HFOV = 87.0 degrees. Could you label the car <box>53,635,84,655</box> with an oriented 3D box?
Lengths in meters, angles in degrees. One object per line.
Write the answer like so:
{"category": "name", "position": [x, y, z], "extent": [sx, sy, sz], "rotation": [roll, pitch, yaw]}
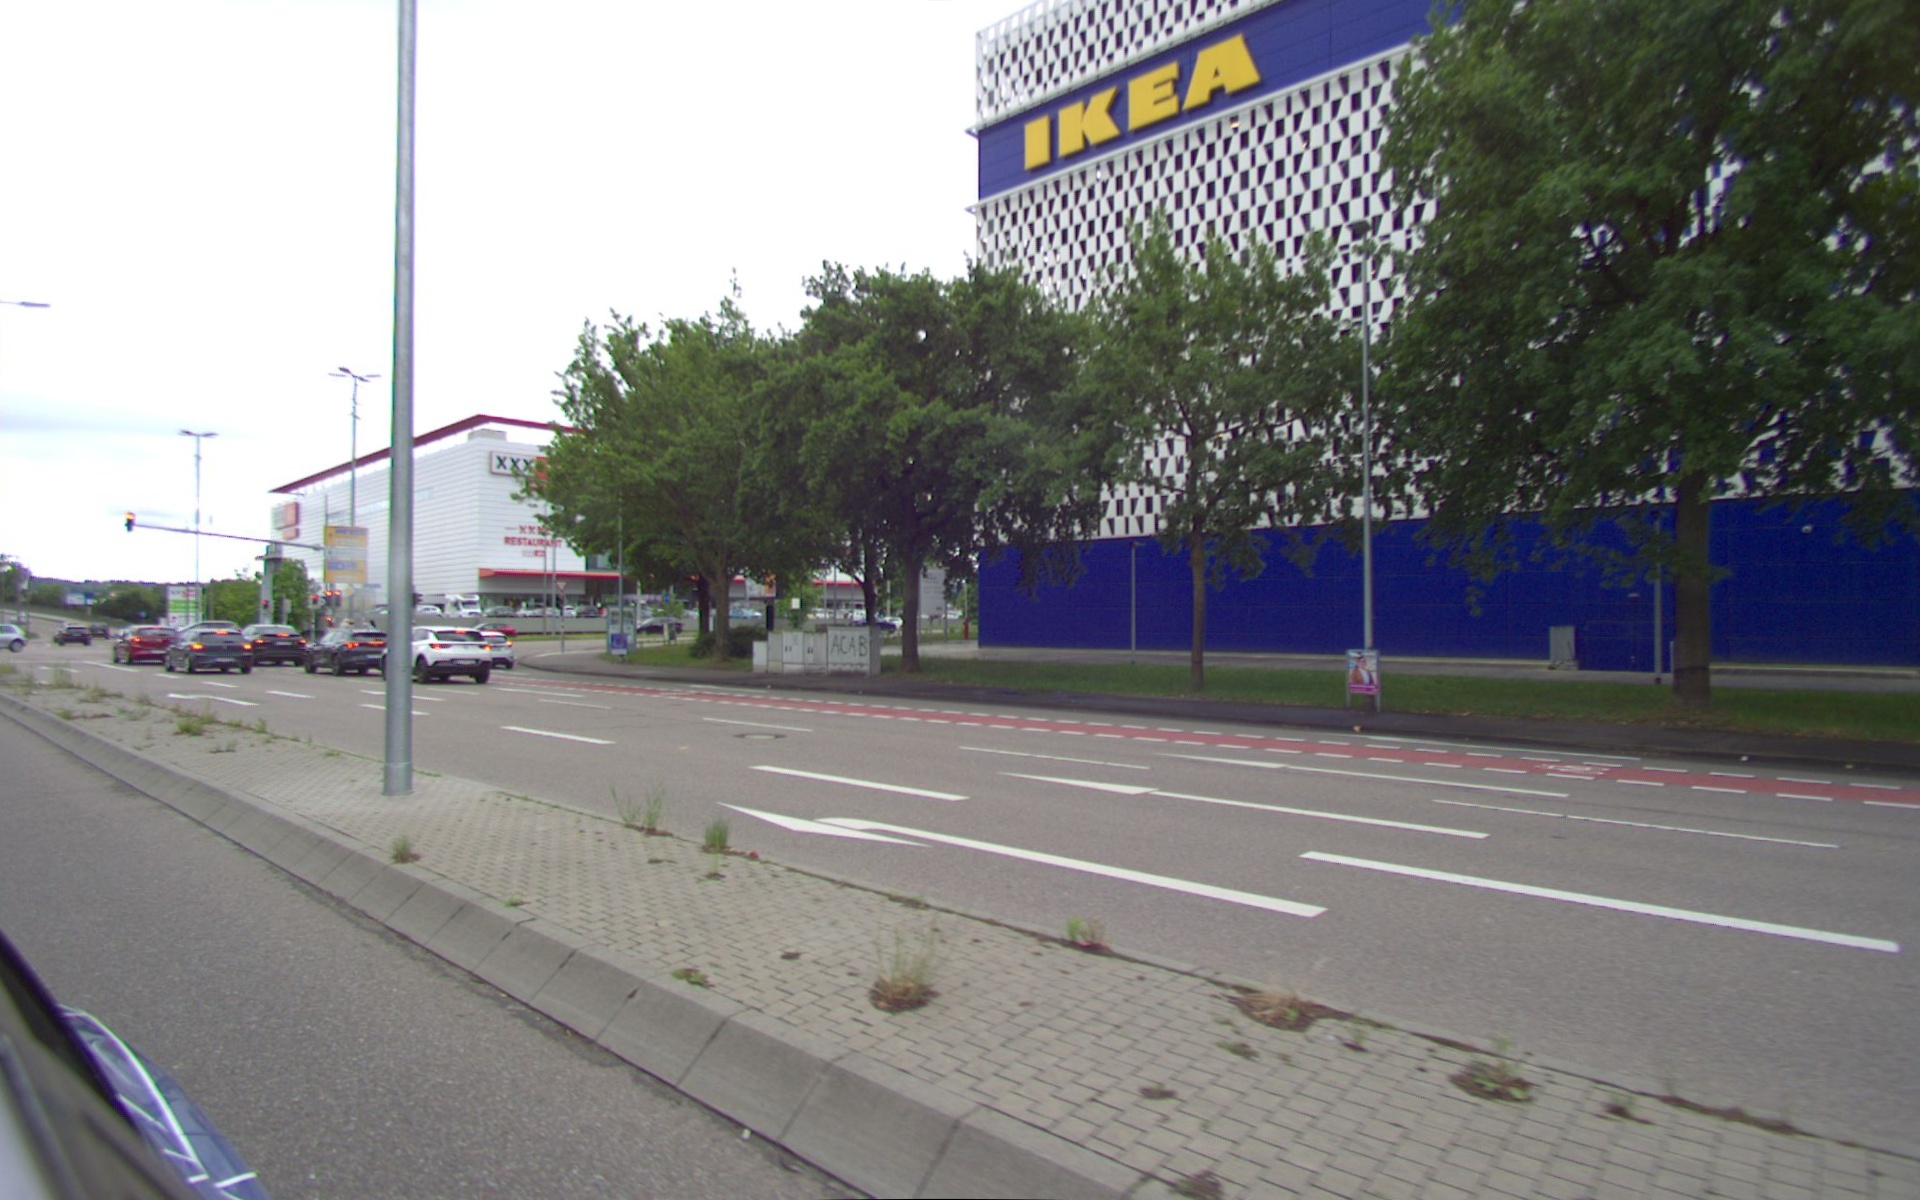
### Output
{"category": "car", "position": [-74.645, 3.758, 84.747], "extent": [3.928, 1.540, 1.670], "rotation": [-4, -3, 44]}

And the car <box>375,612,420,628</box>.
{"category": "car", "position": [-65.178, 2.267, 117.228], "extent": [4.197, 1.688, 1.778], "rotation": [-1, -3, -45]}

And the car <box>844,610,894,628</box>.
{"category": "car", "position": [-7.636, 1.601, 85.172], "extent": [1.703, 1.498, 4.058], "rotation": [-1, -2, 45]}

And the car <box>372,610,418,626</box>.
{"category": "car", "position": [-63.842, 2.055, 114.386], "extent": [4.197, 1.688, 1.778], "rotation": [-1, -3, -45]}

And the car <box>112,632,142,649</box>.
{"category": "car", "position": [-74.193, 3.619, 90.097], "extent": [3.928, 1.382, 1.670], "rotation": [-4, -3, 44]}

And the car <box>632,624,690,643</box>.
{"category": "car", "position": [-24.424, 2.730, 82.800], "extent": [4.157, 1.426, 1.804], "rotation": [-1, -3, -45]}

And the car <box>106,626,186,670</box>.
{"category": "car", "position": [-31.213, 1.808, 38.765], "extent": [4.077, 1.499, 1.716], "rotation": [0, -2, 42]}

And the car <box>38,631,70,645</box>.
{"category": "car", "position": [-95.731, 4.005, 106.933], "extent": [4.873, 1.422, 1.793], "rotation": [-3, -4, 40]}

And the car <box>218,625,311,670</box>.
{"category": "car", "position": [-27.298, 1.841, 39.666], "extent": [4.330, 1.650, 1.861], "rotation": [-1, -4, 40]}

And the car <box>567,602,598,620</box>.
{"category": "car", "position": [-46.874, 1.422, 125.585], "extent": [4.000, 2.029, 1.972], "rotation": [-4, -3, 43]}

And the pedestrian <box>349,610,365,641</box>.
{"category": "pedestrian", "position": [-32.495, 1.384, 54.533], "extent": [0.630, 1.639, 0.694], "rotation": [1, 0, -23]}

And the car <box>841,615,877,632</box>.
{"category": "car", "position": [-12.616, 2.940, 126.258], "extent": [4.327, 2.029, 1.972], "rotation": [-4, -3, 43]}

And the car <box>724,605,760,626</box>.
{"category": "car", "position": [-24.166, 1.723, 112.072], "extent": [4.000, 2.029, 1.972], "rotation": [-4, -3, 43]}

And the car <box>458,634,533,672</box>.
{"category": "car", "position": [-19.007, 2.166, 41.312], "extent": [1.833, 1.473, 4.340], "rotation": [3, -4, -38]}

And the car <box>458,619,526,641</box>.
{"category": "car", "position": [-34.007, 2.179, 73.571], "extent": [4.157, 1.426, 1.804], "rotation": [-1, -3, -45]}

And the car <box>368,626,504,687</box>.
{"category": "car", "position": [-15.305, 1.644, 29.451], "extent": [4.576, 1.607, 1.972], "rotation": [-2, -6, 42]}

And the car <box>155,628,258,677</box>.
{"category": "car", "position": [-24.379, 1.690, 32.692], "extent": [4.330, 1.473, 1.837], "rotation": [-2, -4, 42]}

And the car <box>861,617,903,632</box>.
{"category": "car", "position": [-8.207, 2.605, 106.903], "extent": [4.157, 1.426, 1.804], "rotation": [-1, -3, -45]}

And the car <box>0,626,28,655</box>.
{"category": "car", "position": [-49.859, 2.079, 50.845], "extent": [1.785, 1.426, 4.201], "rotation": [-3, -2, 13]}

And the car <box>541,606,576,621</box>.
{"category": "car", "position": [-42.552, 1.420, 107.279], "extent": [3.993, 1.448, 1.844], "rotation": [-4, -2, 42]}

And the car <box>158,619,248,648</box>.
{"category": "car", "position": [-45.847, 2.009, 61.357], "extent": [4.157, 1.586, 1.804], "rotation": [-1, -3, -45]}

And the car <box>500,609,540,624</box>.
{"category": "car", "position": [-54.192, 2.049, 124.655], "extent": [4.197, 1.688, 1.778], "rotation": [-1, -3, -45]}

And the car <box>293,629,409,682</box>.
{"category": "car", "position": [-20.026, 1.770, 33.197], "extent": [4.595, 1.556, 1.861], "rotation": [0, -3, 40]}

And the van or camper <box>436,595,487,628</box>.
{"category": "van or camper", "position": [-52.101, 1.235, 105.695], "extent": [2.675, 3.159, 7.240], "rotation": [0, -3, -44]}

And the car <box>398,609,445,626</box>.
{"category": "car", "position": [-58.791, 1.931, 110.479], "extent": [4.197, 1.688, 1.778], "rotation": [-1, -3, -45]}

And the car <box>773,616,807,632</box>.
{"category": "car", "position": [-21.384, 2.996, 127.433], "extent": [1.891, 1.807, 3.943], "rotation": [-4, -2, 43]}

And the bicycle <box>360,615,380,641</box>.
{"category": "bicycle", "position": [-31.972, 1.507, 54.837], "extent": [0.587, 1.407, 1.940], "rotation": [1, -1, -21]}
